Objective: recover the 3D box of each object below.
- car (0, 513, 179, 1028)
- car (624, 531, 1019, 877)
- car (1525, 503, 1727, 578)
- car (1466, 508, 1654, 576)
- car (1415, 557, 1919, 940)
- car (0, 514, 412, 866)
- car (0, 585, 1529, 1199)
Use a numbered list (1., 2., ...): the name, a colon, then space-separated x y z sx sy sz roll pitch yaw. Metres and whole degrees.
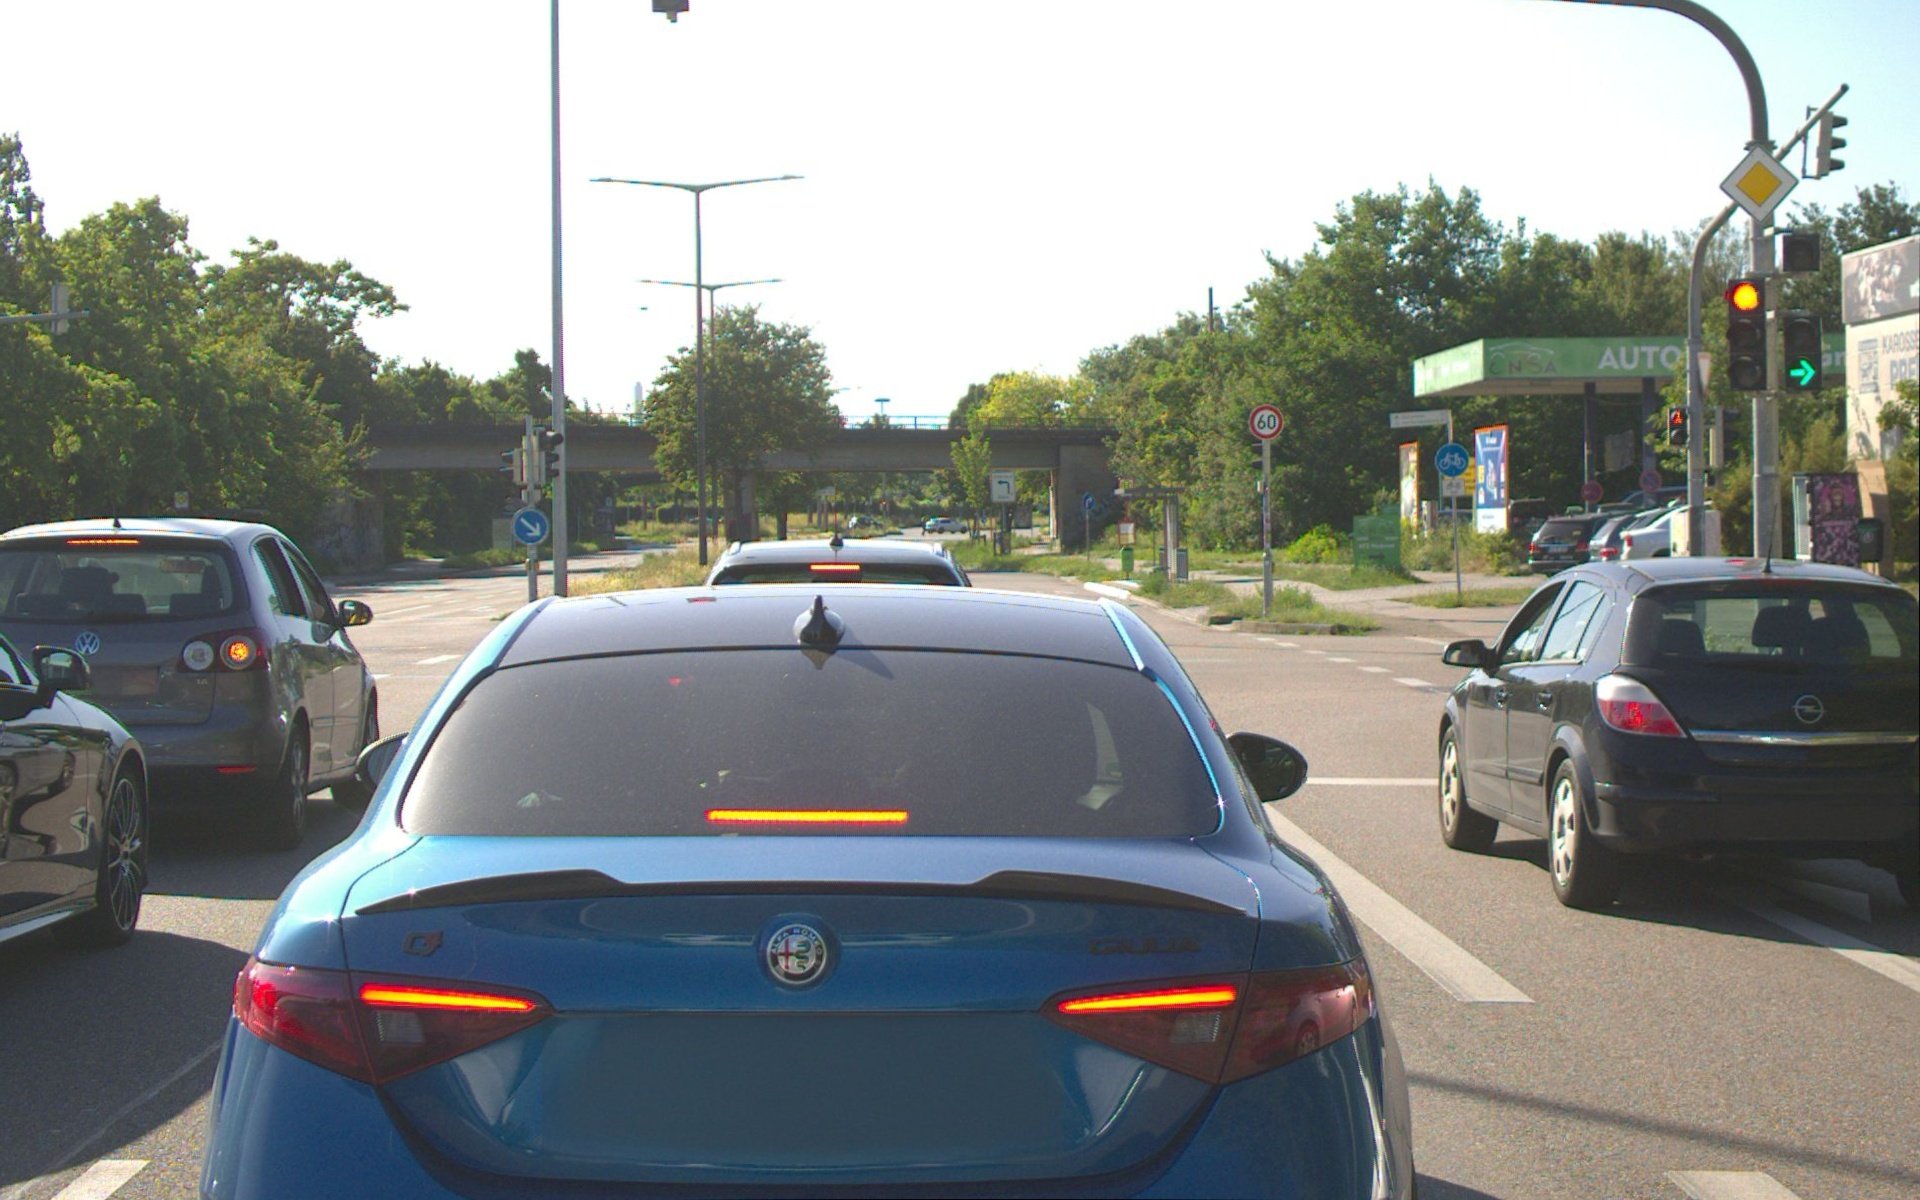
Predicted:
1. car: -3.790 0.499 10.621 1.812 1.546 4.544 0 1 -1
2. car: -0.577 0.439 16.940 1.704 1.492 3.719 1 0 1
3. car: 14.442 -1.293 74.697 3.987 1.547 2.000 1 0 1
4. car: 14.523 -1.399 83.291 3.986 1.547 2.001 1 0 -18
5. car: 3.232 0.548 15.385 1.734 1.437 4.372 1 1 -1
6. car: -3.968 0.375 17.425 1.812 1.546 4.354 1 1 -2
7. car: -0.227 0.704 6.125 1.910 1.418 3.719 1 1 1
